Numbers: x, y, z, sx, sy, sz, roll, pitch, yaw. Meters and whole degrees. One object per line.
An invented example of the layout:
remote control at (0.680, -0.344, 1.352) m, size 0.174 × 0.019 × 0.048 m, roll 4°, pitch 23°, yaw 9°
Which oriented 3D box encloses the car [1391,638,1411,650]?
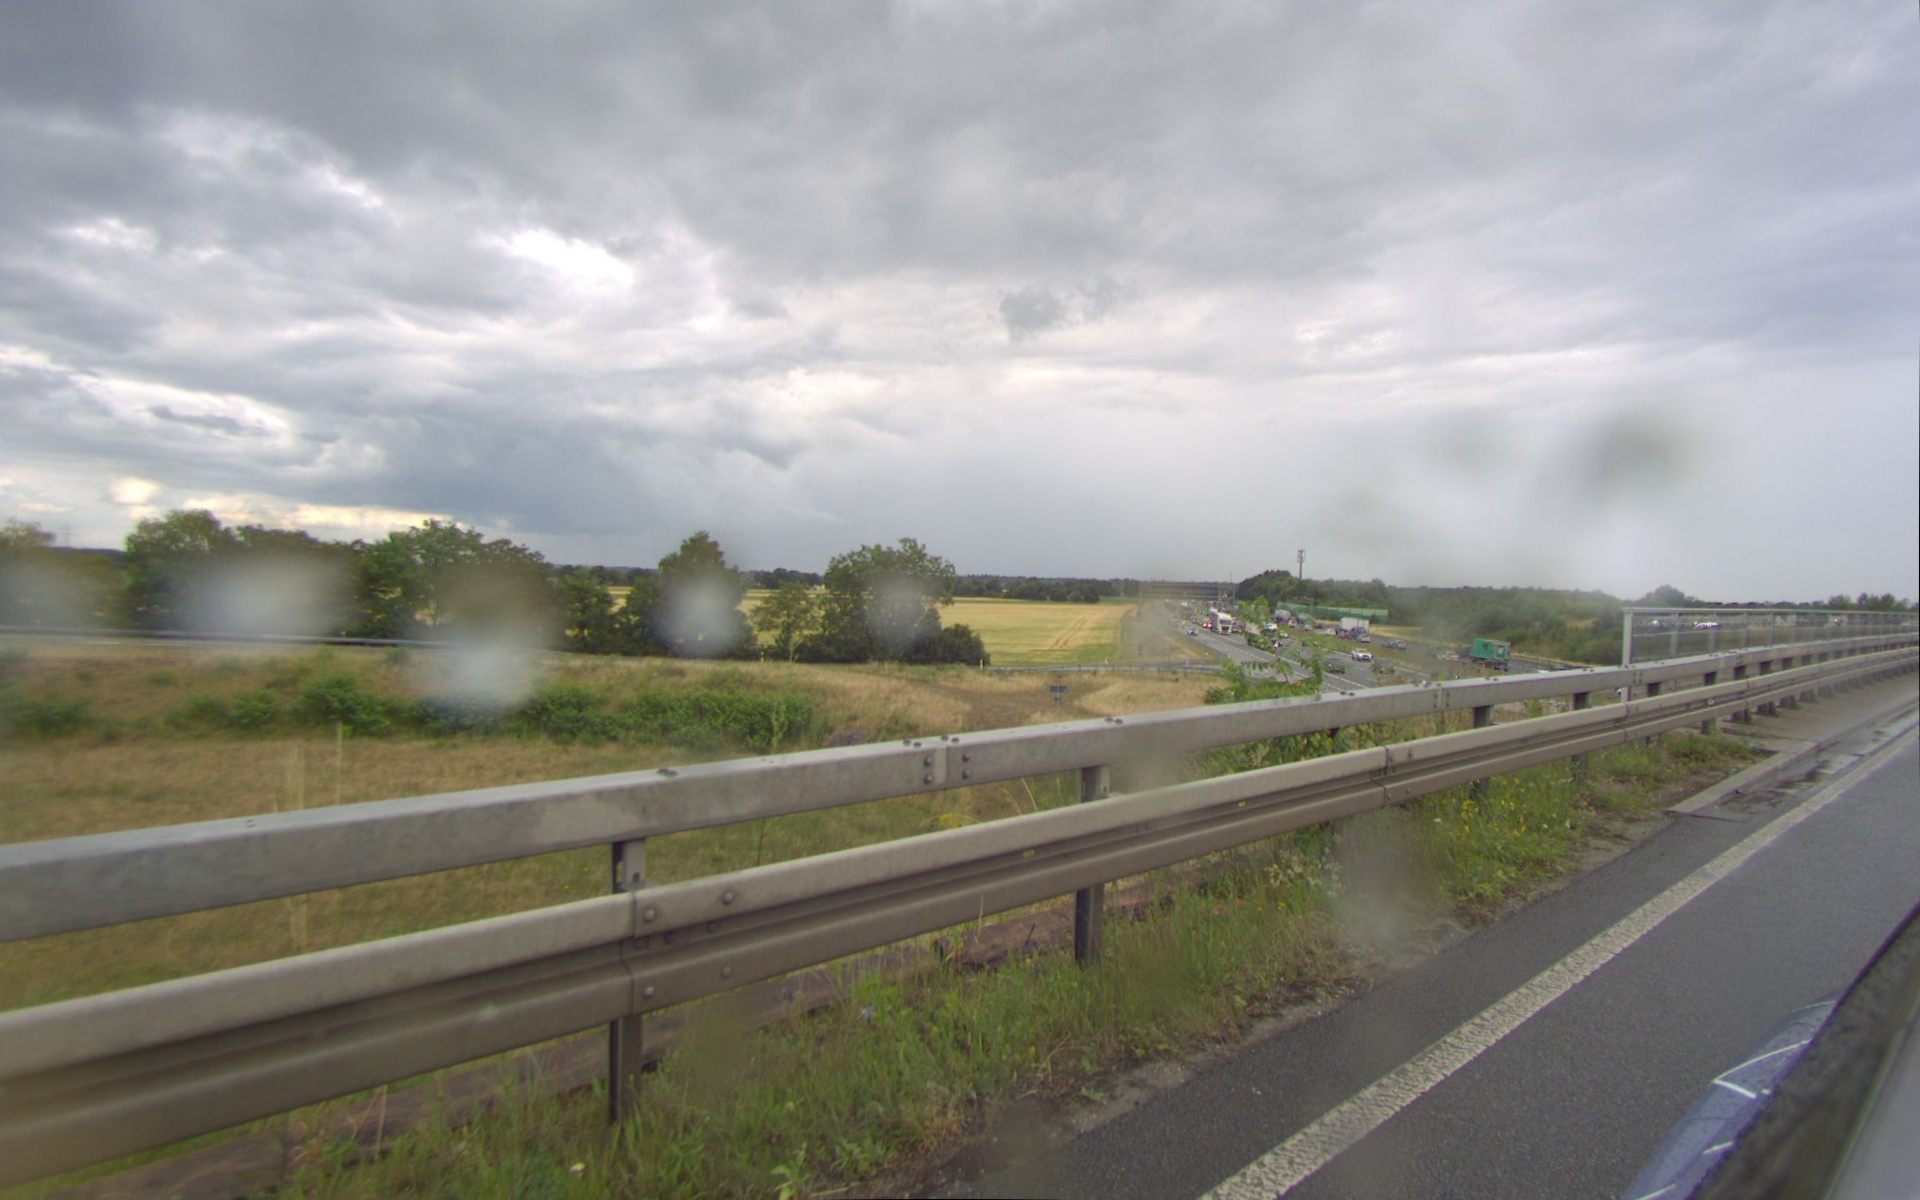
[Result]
car at (75.246, 7.499, 172.782) m, size 1.826 × 1.690 × 4.713 m, roll 0°, pitch 0°, yaw 8°

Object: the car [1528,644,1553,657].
car at (92.943, 8.074, 162.030) m, size 1.826 × 1.690 × 4.713 m, roll 0°, pitch 0°, yaw 8°

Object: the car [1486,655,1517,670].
car at (70.036, 8.081, 130.990) m, size 1.825 × 1.690 × 4.716 m, roll 0°, pitch 0°, yaw 6°

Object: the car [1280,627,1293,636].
car at (66.259, 6.403, 205.499) m, size 1.826 × 1.690 × 4.713 m, roll 0°, pitch 0°, yaw 8°

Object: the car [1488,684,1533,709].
car at (47.058, 8.237, 86.571) m, size 1.826 × 1.690 × 4.713 m, roll 0°, pitch 0°, yaw 8°

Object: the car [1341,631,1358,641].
car at (74.342, 6.851, 193.187) m, size 1.826 × 1.690 × 4.713 m, roll 0°, pitch 0°, yaw 8°

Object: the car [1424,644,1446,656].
car at (72.083, 7.582, 153.631) m, size 1.826 × 1.690 × 4.713 m, roll 0°, pitch 0°, yaw 8°

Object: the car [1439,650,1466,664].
car at (67.378, 7.748, 138.430) m, size 1.825 × 1.690 × 4.716 m, roll 0°, pitch 0°, yaw 6°

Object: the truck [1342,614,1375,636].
truck at (90.821, 5.607, 230.759) m, size 3.544 × 4.595 × 15.589 m, roll 0°, pitch 0°, yaw 9°

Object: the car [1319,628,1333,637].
car at (77.197, 6.815, 213.555) m, size 1.826 × 1.690 × 4.713 m, roll 0°, pitch 0°, yaw 8°

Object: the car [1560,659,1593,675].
car at (77.592, 8.392, 127.386) m, size 1.826 × 1.690 × 4.713 m, roll 0°, pitch 0°, yaw 8°

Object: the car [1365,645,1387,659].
car at (59.816, 7.491, 145.709) m, size 1.826 × 1.690 × 4.713 m, roll 0°, pitch 0°, yaw 8°

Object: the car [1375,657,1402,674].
car at (50.878, 7.782, 120.214) m, size 1.826 × 1.690 × 4.713 m, roll 0°, pitch 0°, yaw 8°

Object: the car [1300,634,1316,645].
car at (61.178, 6.891, 177.942) m, size 1.826 × 1.690 × 4.713 m, roll 0°, pitch 0°, yaw 8°

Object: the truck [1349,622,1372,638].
truck at (84.106, 6.285, 212.685) m, size 2.175 × 3.003 × 9.286 m, roll 0°, pitch 0°, yaw 8°

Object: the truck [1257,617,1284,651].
truck at (49.009, 5.286, 159.903) m, size 2.750 × 4.962 × 12.712 m, roll 0°, pitch 0°, yaw 11°

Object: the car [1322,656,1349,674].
car at (42.445, 7.365, 114.402) m, size 1.826 × 1.690 × 4.713 m, roll 0°, pitch 0°, yaw 8°

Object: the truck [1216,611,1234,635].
truck at (54.580, 4.661, 208.851) m, size 2.750 × 4.676 × 12.712 m, roll 0°, pitch 0°, yaw 11°

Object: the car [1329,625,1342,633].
car at (86.921, 6.726, 234.053) m, size 1.826 × 1.690 × 4.713 m, roll 0°, pitch 0°, yaw 8°

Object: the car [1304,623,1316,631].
car at (84.659, 6.572, 244.850) m, size 1.826 × 1.690 × 4.713 m, roll 0°, pitch 0°, yaw 8°

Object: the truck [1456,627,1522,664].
truck at (75.901, 6.434, 145.721) m, size 3.544 × 4.595 × 15.589 m, roll 0°, pitch 0°, yaw 9°

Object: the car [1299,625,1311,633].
car at (79.701, 6.682, 233.757) m, size 1.826 × 1.690 × 4.713 m, roll 0°, pitch 0°, yaw 8°

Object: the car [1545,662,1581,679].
car at (71.223, 8.328, 119.540) m, size 1.825 × 1.690 × 4.716 m, roll 0°, pitch 0°, yaw 6°

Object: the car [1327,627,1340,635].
car at (81.835, 6.824, 221.795) m, size 1.826 × 1.690 × 4.713 m, roll 0°, pitch 0°, yaw 8°

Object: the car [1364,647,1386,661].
car at (57.829, 7.450, 141.097) m, size 1.826 × 1.690 × 4.713 m, roll 0°, pitch 0°, yaw 8°

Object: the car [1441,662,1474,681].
car at (54.953, 7.865, 111.827) m, size 1.826 × 1.690 × 4.713 m, roll 0°, pitch 0°, yaw 8°

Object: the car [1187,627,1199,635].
car at (44.644, 5.897, 193.725) m, size 1.783 × 1.454 × 4.715 m, roll 0°, pitch 0°, yaw 7°

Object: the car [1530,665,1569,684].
car at (63.562, 8.015, 109.256) m, size 1.825 × 1.690 × 4.716 m, roll 0°, pitch 0°, yaw 6°

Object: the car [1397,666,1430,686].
car at (45.618, 7.617, 101.862) m, size 1.826 × 1.690 × 4.713 m, roll 0°, pitch 0°, yaw 8°

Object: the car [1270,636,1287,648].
car at (53.059, 6.963, 168.727) m, size 1.826 × 1.690 × 4.713 m, roll 0°, pitch 0°, yaw 8°

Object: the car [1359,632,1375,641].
car at (78.114, 6.997, 194.372) m, size 1.826 × 1.690 × 4.713 m, roll 0°, pitch 0°, yaw 8°

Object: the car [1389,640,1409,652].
car at (70.553, 7.355, 162.714) m, size 1.826 × 1.690 × 4.713 m, roll 0°, pitch 0°, yaw 8°

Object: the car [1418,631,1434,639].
car at (99.830, 7.489, 216.817) m, size 1.826 × 1.690 × 4.713 m, roll 0°, pitch 0°, yaw 8°
